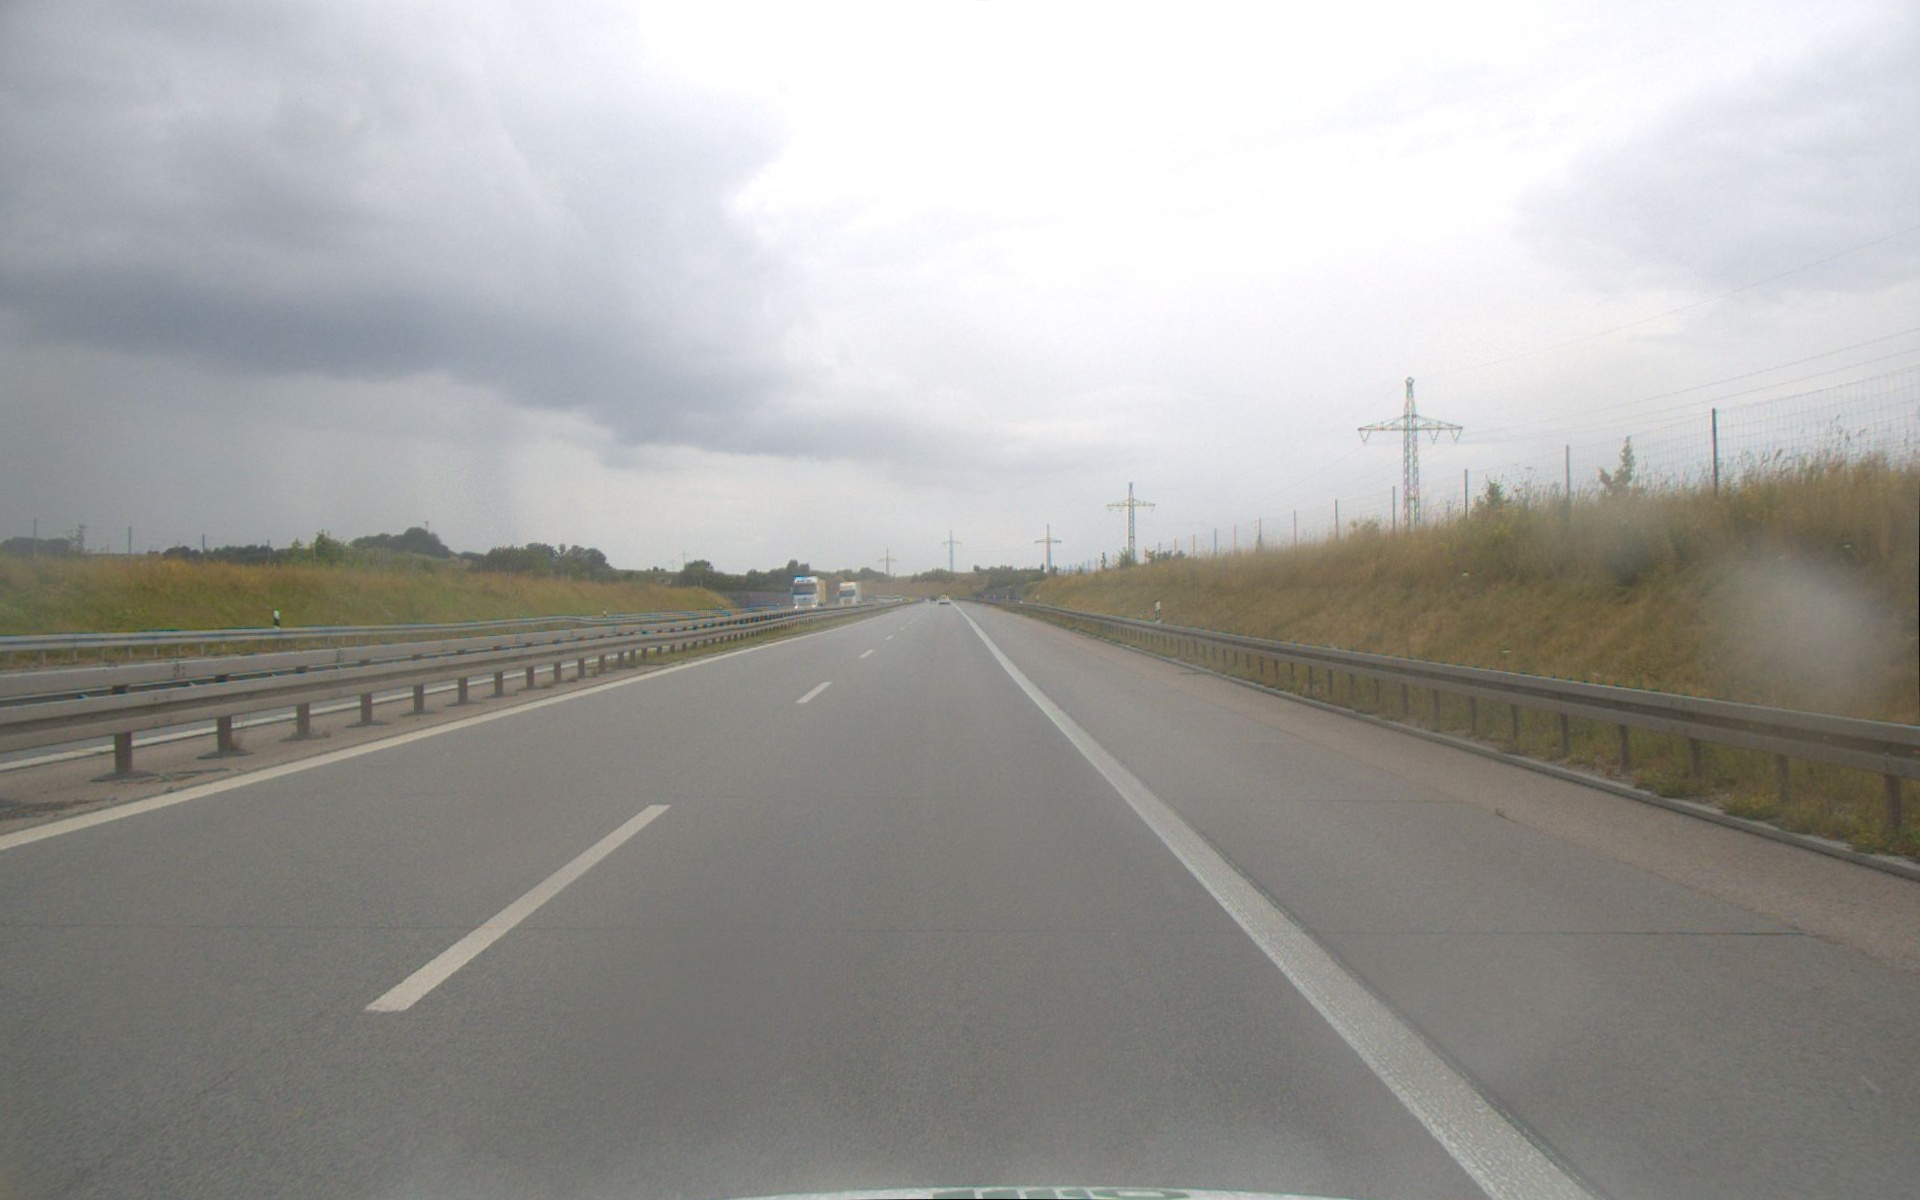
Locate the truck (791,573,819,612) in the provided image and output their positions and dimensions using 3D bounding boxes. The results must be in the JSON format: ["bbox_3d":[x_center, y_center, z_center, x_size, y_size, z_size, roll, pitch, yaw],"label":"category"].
[{"bbox_3d":[-16.391,-0.777,174.920,2.541,3.994,5.584,-2,0,-3],"label":"truck"}]
